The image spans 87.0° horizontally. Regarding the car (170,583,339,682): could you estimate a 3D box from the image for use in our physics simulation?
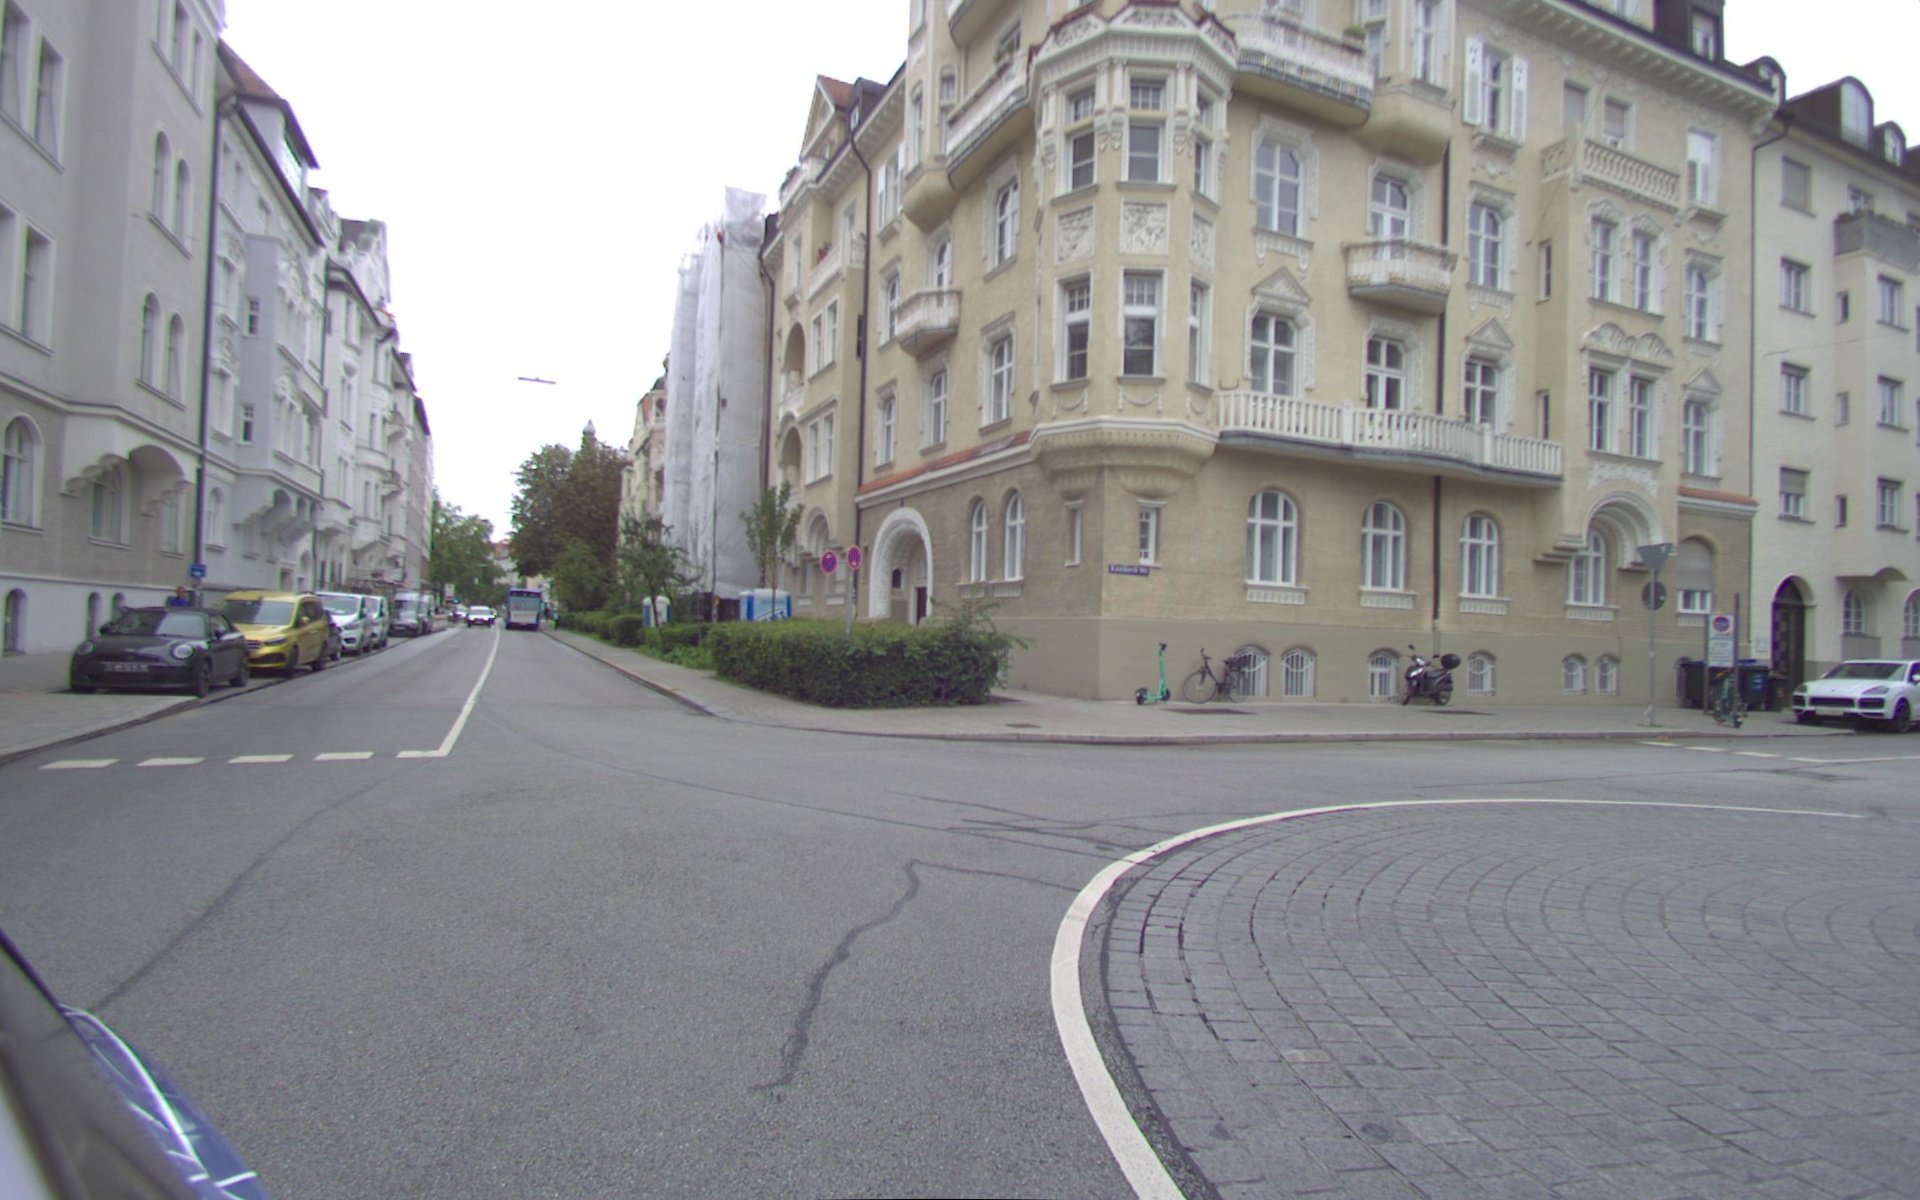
[{"bbox_3d":[-15.430,0.699,22.432,1.965,1.933,4.586,3,-2,-21],"label":"car"}]

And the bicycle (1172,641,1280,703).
[{"bbox_3d":[5.494,1.484,20.860,2.299,1.212,0.701,3,-2,-29],"label":"bicycle"}]

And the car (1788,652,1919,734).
[{"bbox_3d":[21.987,2.150,23.783,4.904,1.688,2.007,3,-2,-26],"label":"car"}]

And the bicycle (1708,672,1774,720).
[{"bbox_3d":[18.985,2.323,24.594,1.942,1.077,0.655,3,-2,-33],"label":"bicycle"}]

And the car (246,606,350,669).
[{"bbox_3d":[-17.672,0.986,27.197,1.610,1.525,3.898,2,-2,-23],"label":"car"}]

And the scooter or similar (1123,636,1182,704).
[{"bbox_3d":[3.775,1.358,19.811,1.265,1.281,0.459,4,-2,-43],"label":"scooter or similar"}]

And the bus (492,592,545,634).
[{"bbox_3d":[-39.017,1.139,89.018,3.127,3.236,18.116,4,-3,-27],"label":"bus"}]

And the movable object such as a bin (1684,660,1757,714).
[{"bbox_3d":[20.659,2.351,27.515,1.160,1.381,1.151,3,-2,-23],"label":"movable object such as a bin"}]

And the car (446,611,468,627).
[{"bbox_3d":[-54.469,2.101,109.645,1.695,1.644,4.013,3,-2,-20],"label":"car"}]

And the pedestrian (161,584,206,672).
[{"bbox_3d":[-18.271,0.651,23.821,0.575,2.029,0.730,2,-2,-21],"label":"pedestrian"}]

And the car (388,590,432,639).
[{"bbox_3d":[-33.023,0.858,60.793,2.048,2.709,5.462,4,-3,-29],"label":"car"}]

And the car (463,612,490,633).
[{"bbox_3d":[-41.286,1.881,86.295,1.887,1.670,4.616,3,-2,-27],"label":"car"}]

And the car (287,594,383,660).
[{"bbox_3d":[-20.303,0.870,33.079,1.965,1.933,4.902,3,-2,-24],"label":"car"}]

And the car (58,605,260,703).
[{"bbox_3d":[-13.453,0.870,17.265,1.688,1.456,3.840,3,-2,-23],"label":"car"}]

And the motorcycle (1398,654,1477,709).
[{"bbox_3d":[10.949,1.856,23.205,1.716,1.195,0.744,3,-2,-28],"label":"motorcycle"}]

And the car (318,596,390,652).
[{"bbox_3d":[-22.750,0.888,38.120,1.965,1.933,4.894,3,-2,-28],"label":"car"}]

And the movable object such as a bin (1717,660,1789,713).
[{"bbox_3d":[21.842,2.383,27.892,1.160,1.381,1.151,3,-2,-23],"label":"movable object such as a bin"}]

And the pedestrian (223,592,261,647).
[{"bbox_3d":[-25.573,0.699,36.052,0.840,1.917,0.748,3,-2,-21],"label":"pedestrian"}]

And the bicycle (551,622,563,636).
[{"bbox_3d":[-32.761,2.355,82.170,0.757,1.090,2.056,1,-1,-26],"label":"bicycle"}]

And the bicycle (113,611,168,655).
[{"bbox_3d":[-22.468,0.886,27.772,0.657,1.141,1.728,3,-2,-23],"label":"bicycle"}]

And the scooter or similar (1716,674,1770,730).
[{"bbox_3d":[17.037,2.202,22.048,0.538,1.117,1.337,1,-2,20],"label":"scooter or similar"}]

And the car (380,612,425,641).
[{"bbox_3d":[-30.322,1.425,55.147,1.762,1.418,4.258,3,-2,-24],"label":"car"}]

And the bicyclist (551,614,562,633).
[{"bbox_3d":[-32.756,1.903,82.155,0.757,1.504,1.064,1,-1,-26],"label":"bicyclist"}]
